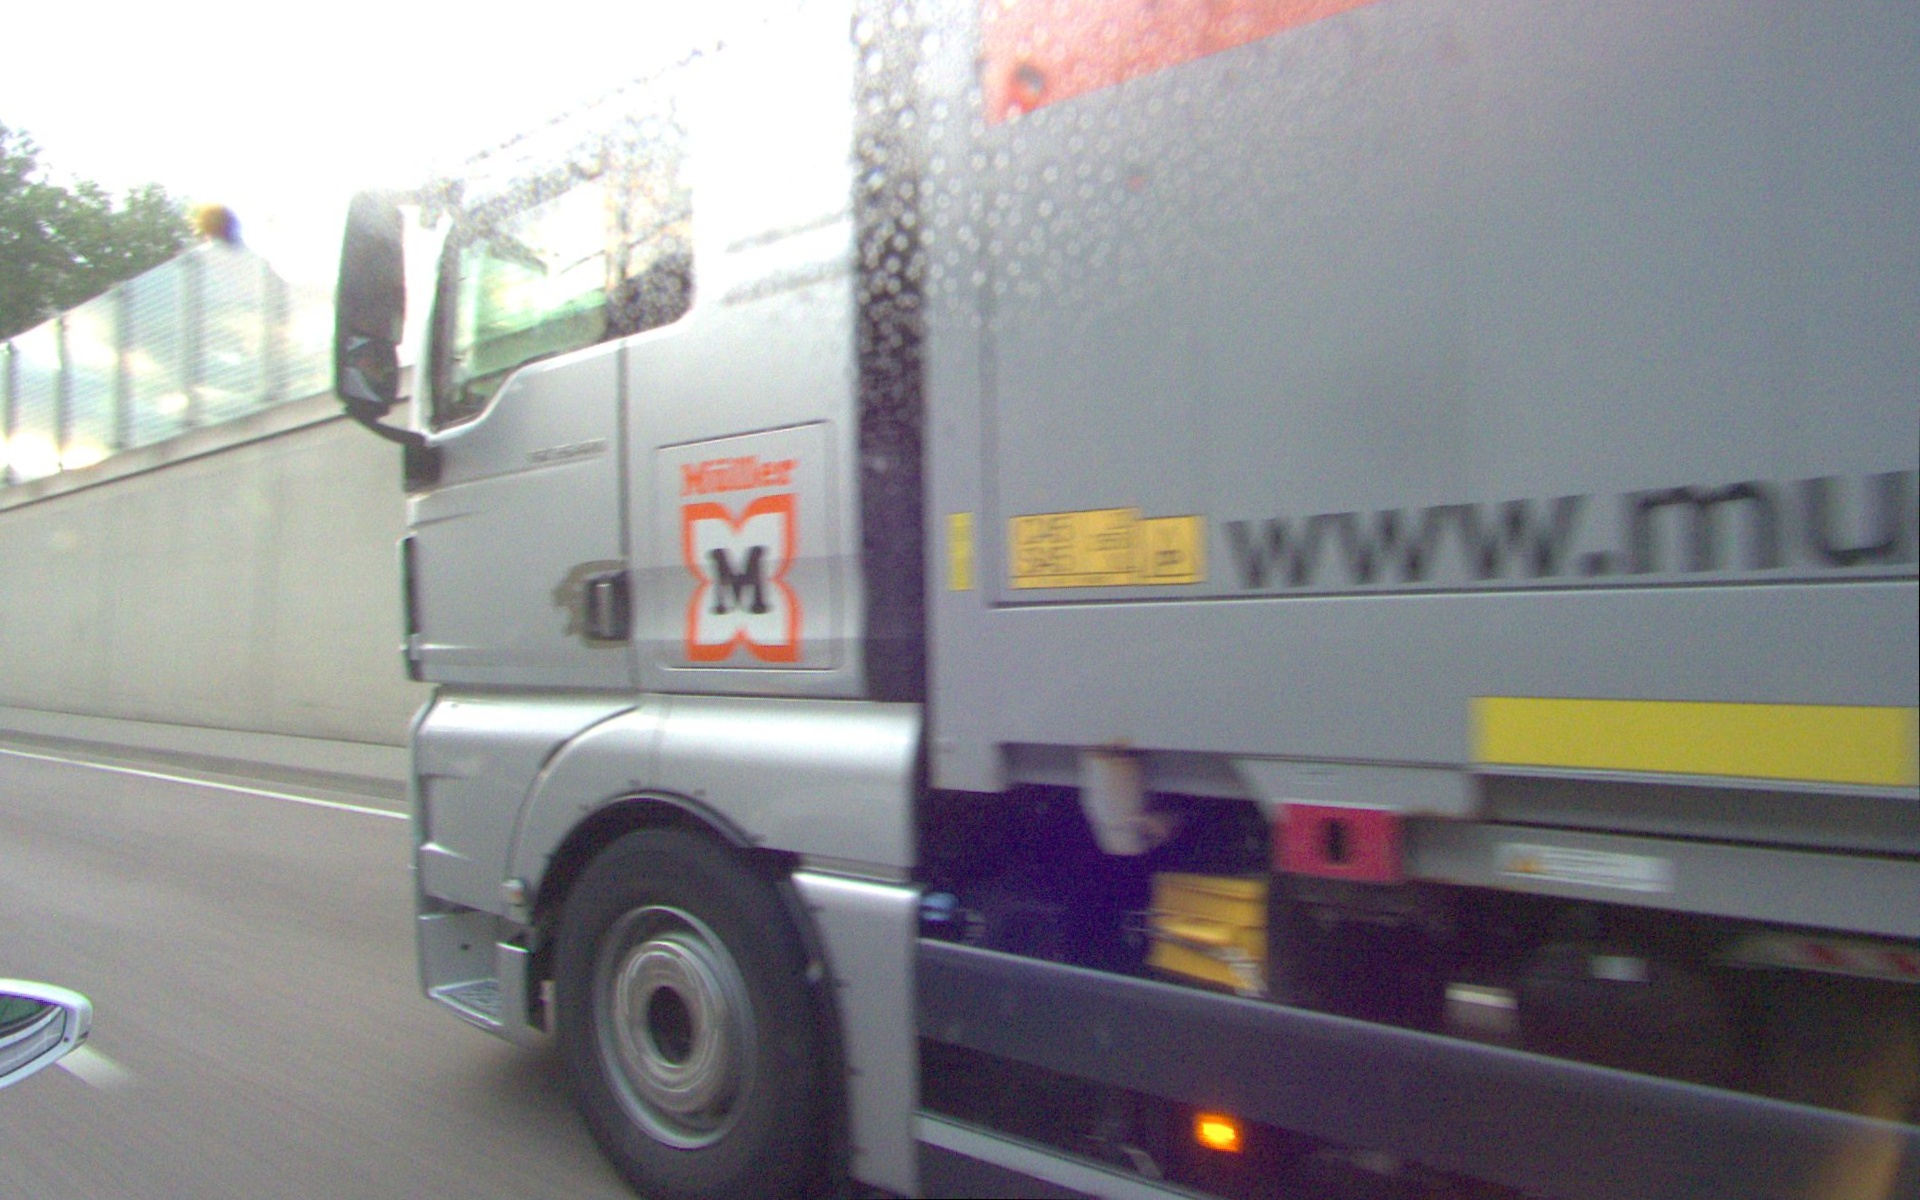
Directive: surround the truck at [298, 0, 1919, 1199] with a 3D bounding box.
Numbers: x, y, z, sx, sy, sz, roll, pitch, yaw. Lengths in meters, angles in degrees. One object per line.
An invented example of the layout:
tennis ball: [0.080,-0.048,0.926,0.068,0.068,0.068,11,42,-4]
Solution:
truck: [2.772,-0.587,1.710,9.770,3.963,2.883,-1,-2,33]
